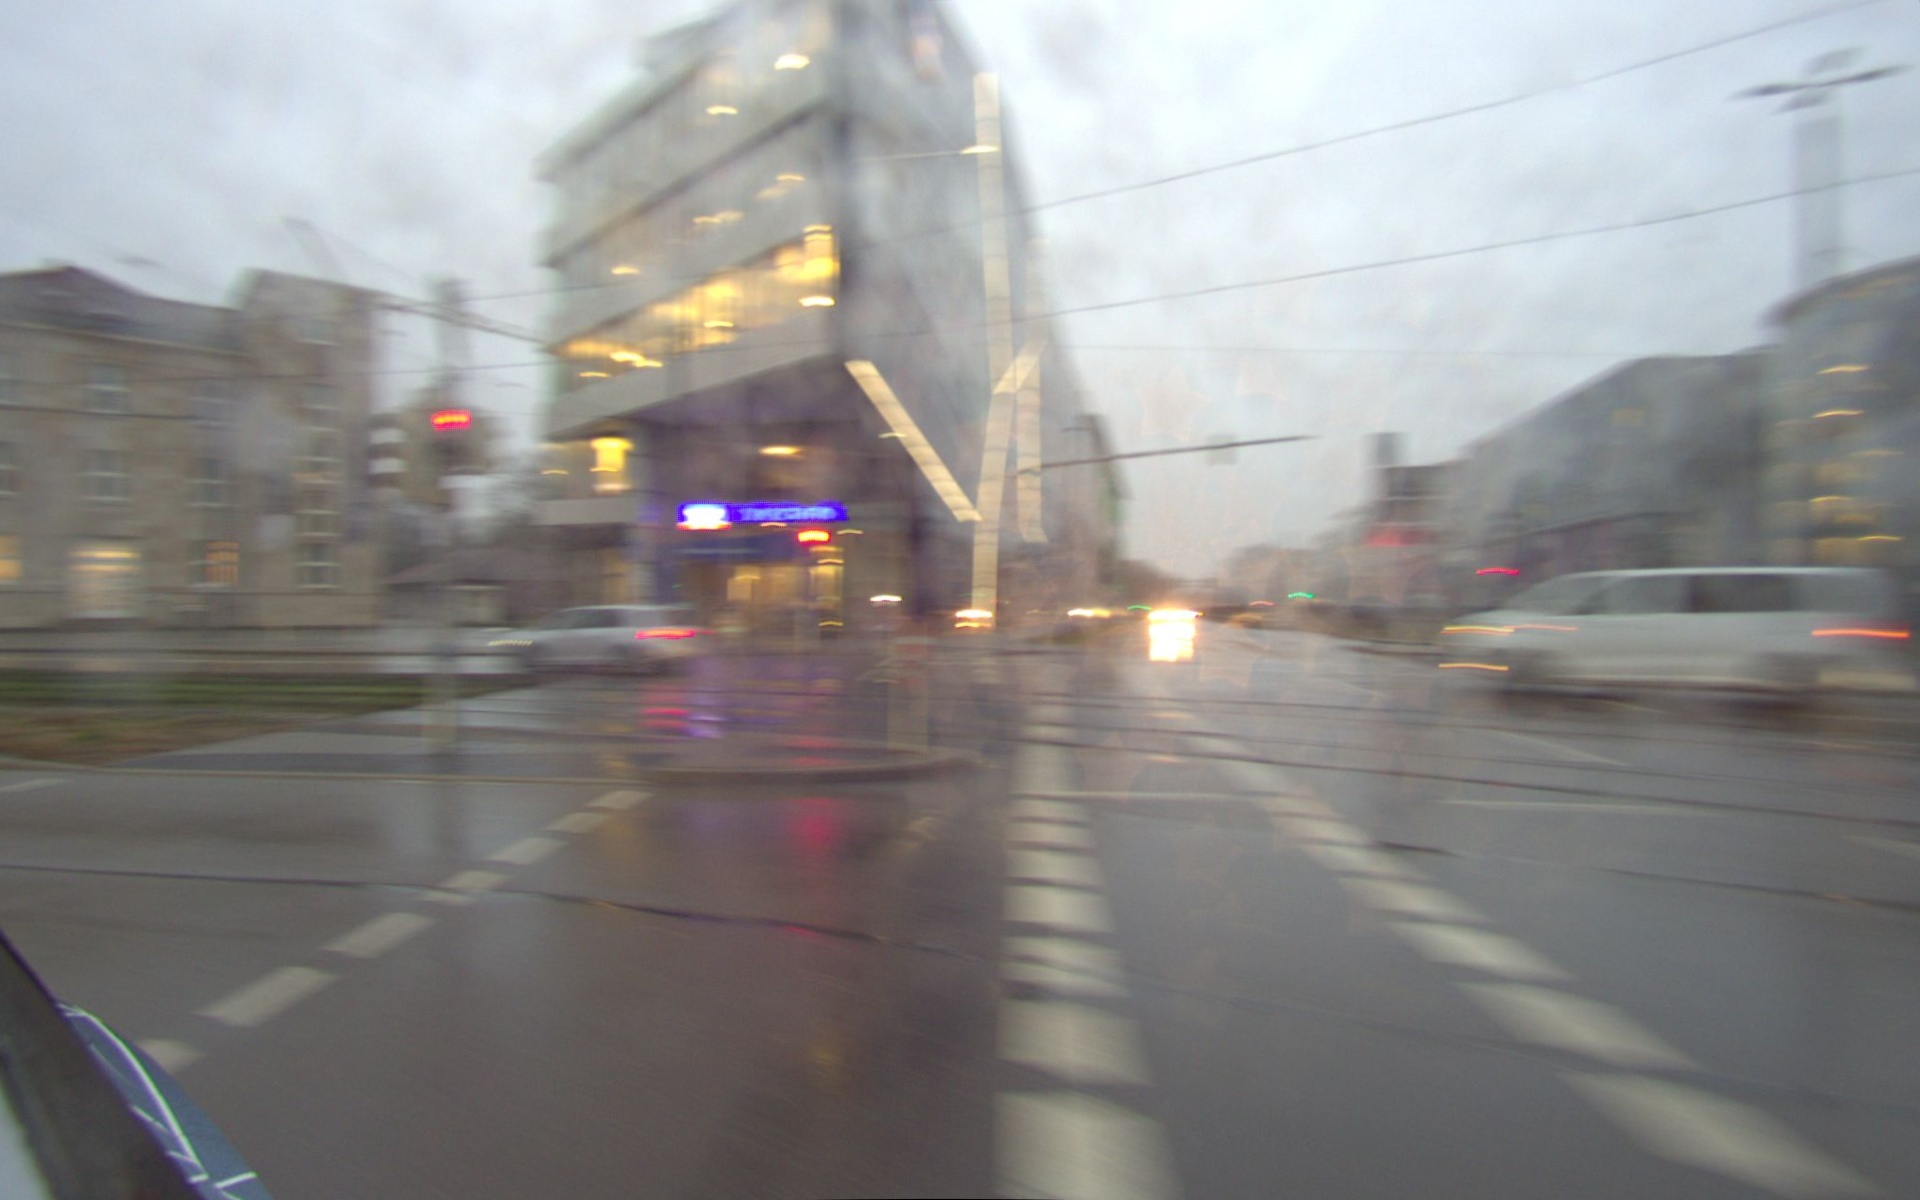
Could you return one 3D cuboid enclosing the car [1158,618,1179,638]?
[{"bbox_3d":[18.676,2.488,90.840,1.815,1.674,3.985,0,-1,12],"label":"car"}]

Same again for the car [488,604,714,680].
[{"bbox_3d":[-7.629,0.847,21.587,4.303,1.497,1.856,0,-1,17],"label":"car"}]

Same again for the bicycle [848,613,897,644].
[{"bbox_3d":[-3.066,0.997,35.583,1.585,1.078,0.640,-1,-1,13],"label":"bicycle"}]

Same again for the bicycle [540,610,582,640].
[{"bbox_3d":[-15.778,0.983,40.026,1.474,1.136,0.529,1,-1,-41],"label":"bicycle"}]

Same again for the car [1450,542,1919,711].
[{"bbox_3d":[10.278,0.349,14.532,5.645,2.074,1.931,0,-1,34],"label":"car"}]
